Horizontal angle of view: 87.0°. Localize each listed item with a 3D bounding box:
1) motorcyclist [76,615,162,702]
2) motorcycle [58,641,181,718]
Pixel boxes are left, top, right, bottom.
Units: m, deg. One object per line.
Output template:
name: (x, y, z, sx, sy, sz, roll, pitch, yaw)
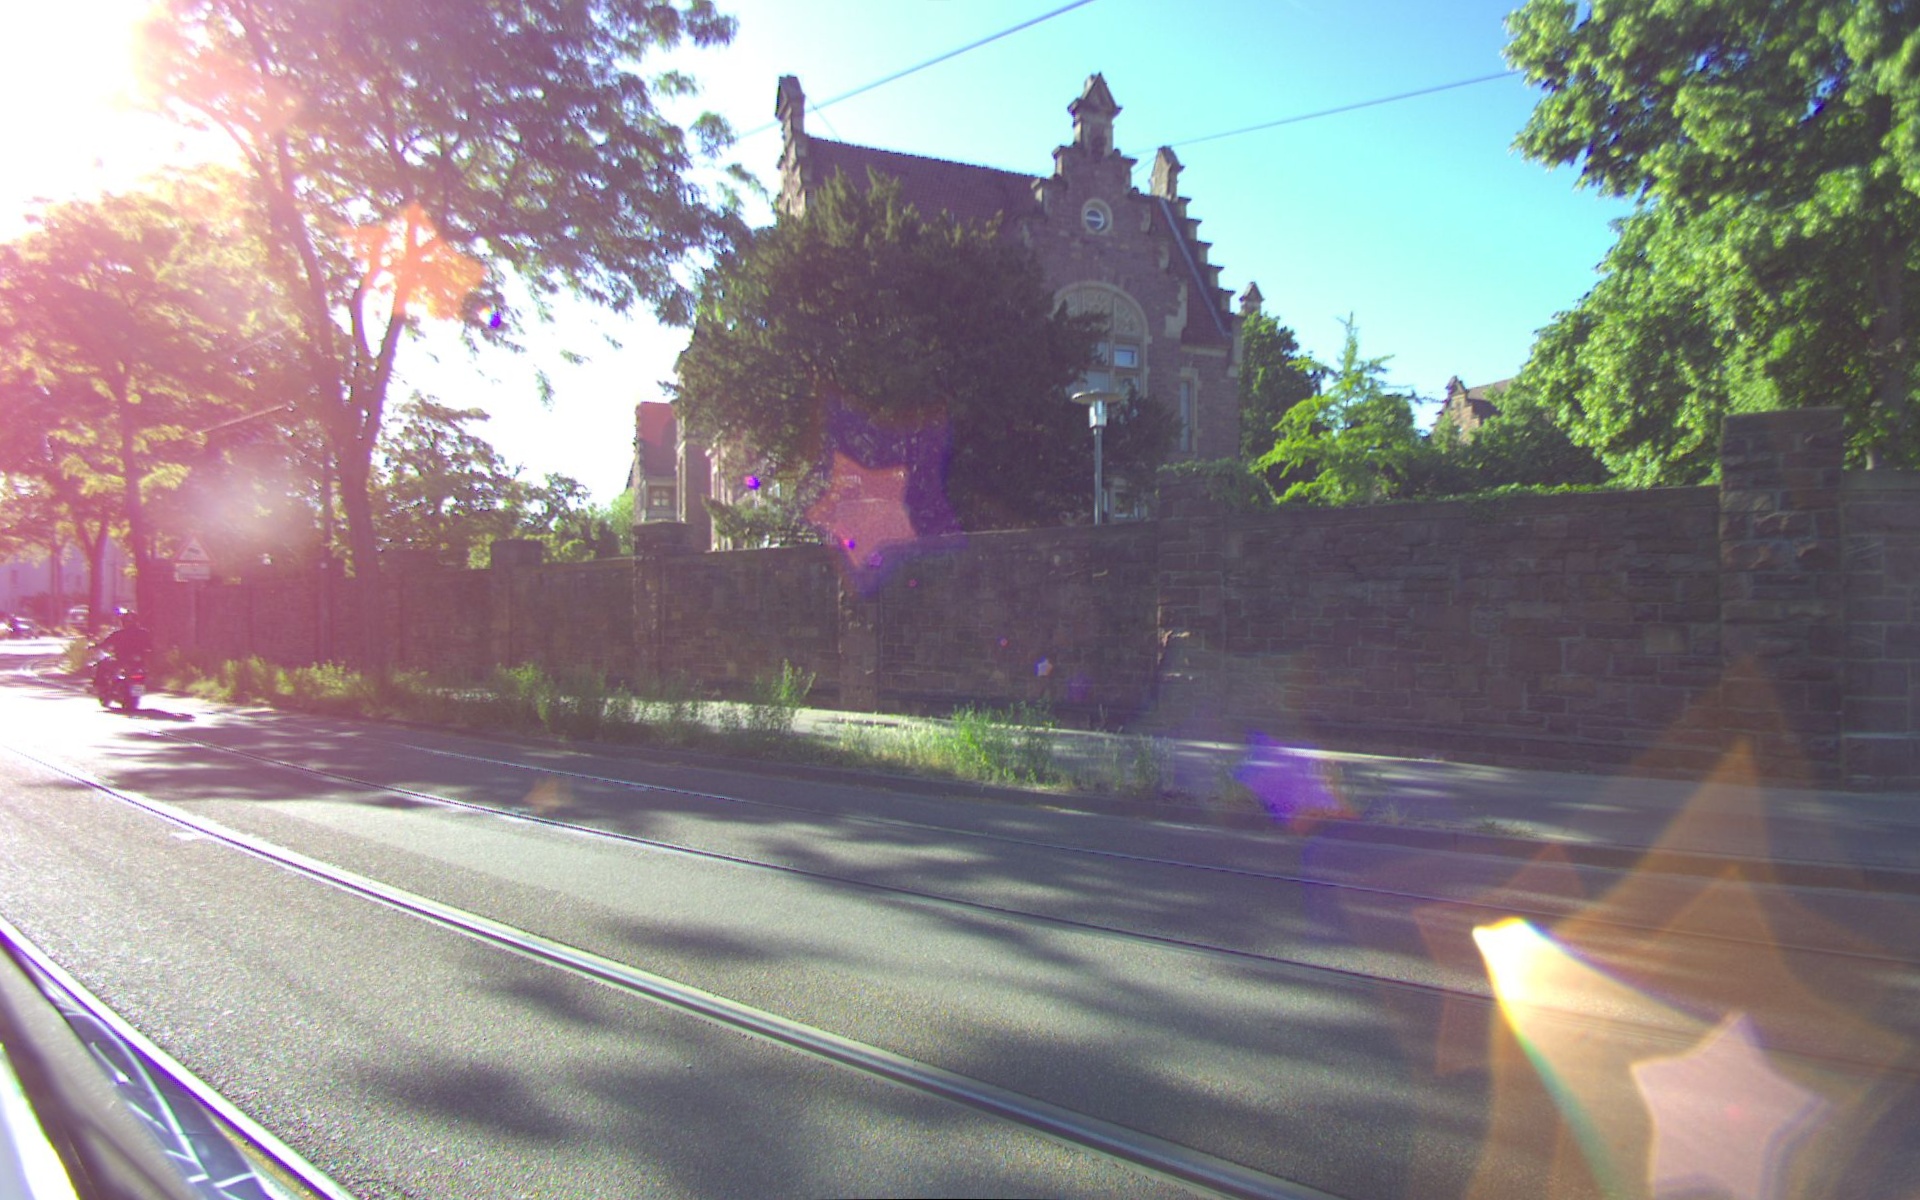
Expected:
motorcyclist: (-13.943, 0.950, 16.792, 0.906, 1.393, 0.882, -1, -1, 33)
motorcycle: (-13.948, 1.275, 16.775, 2.422, 1.162, 0.904, -1, -1, 33)
